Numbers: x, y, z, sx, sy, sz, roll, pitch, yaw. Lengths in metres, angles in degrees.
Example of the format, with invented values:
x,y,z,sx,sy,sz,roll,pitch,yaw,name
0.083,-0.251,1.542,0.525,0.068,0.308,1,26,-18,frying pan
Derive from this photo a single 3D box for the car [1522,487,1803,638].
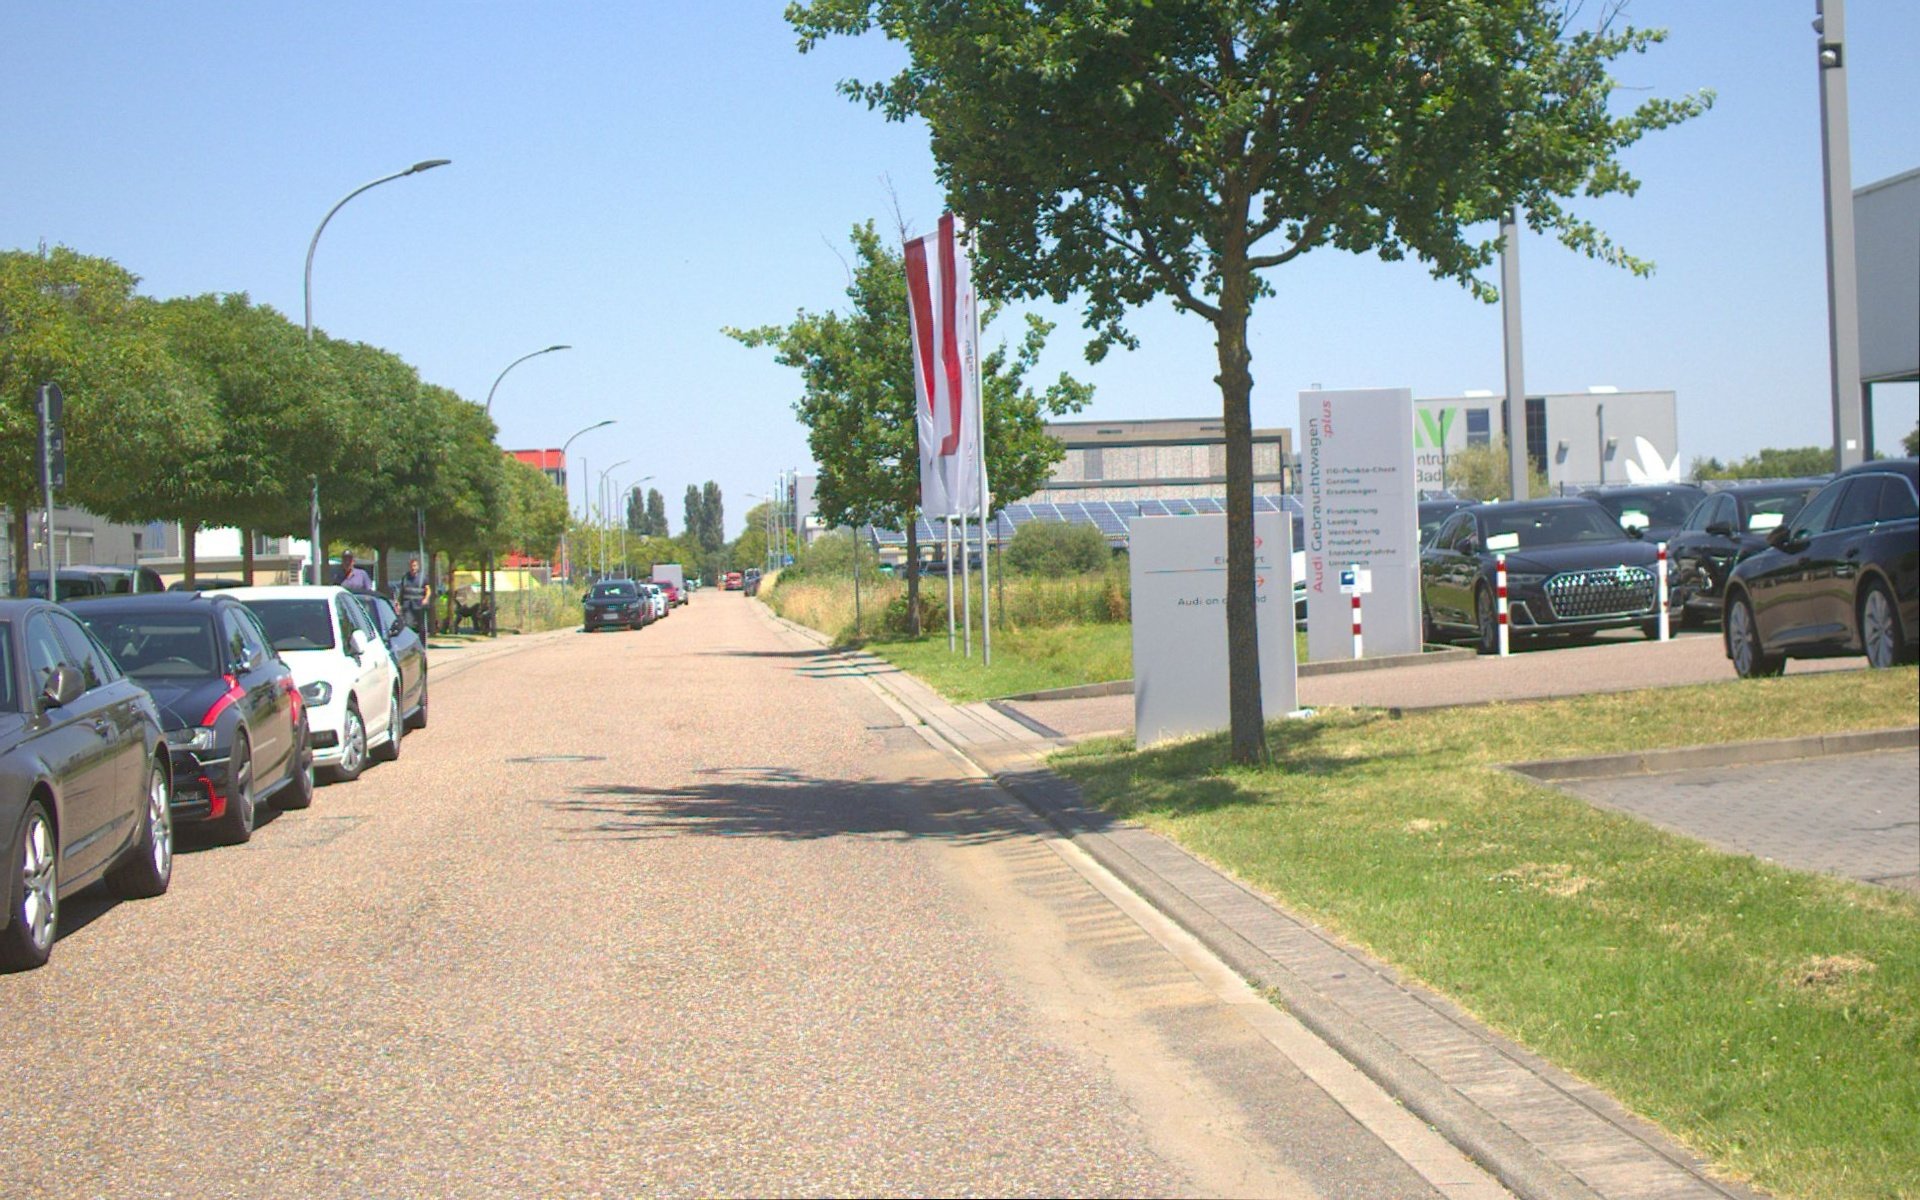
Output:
x,y,z,sx,sy,sz,roll,pitch,yaw,name
8.268,-0.435,40.923,2.024,1.584,4.780,-3,1,-3,car

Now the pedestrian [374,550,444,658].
x,y,z,sx,sy,sz,roll,pitch,yaw,name
-10.129,0.072,63.187,0.842,1.966,0.963,0,0,36,pedestrian

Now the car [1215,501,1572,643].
x,y,z,sx,sy,sz,roll,pitch,yaw,name
6.025,-0.390,48.104,4.527,1.687,2.032,-3,0,-6,car

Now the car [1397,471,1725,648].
x,y,z,sx,sy,sz,roll,pitch,yaw,name
5.997,-0.399,35.022,2.024,1.509,5.240,-5,1,-3,car

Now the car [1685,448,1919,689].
x,y,z,sx,sy,sz,roll,pitch,yaw,name
6.595,-0.184,23.218,1.961,1.452,4.986,-3,-1,-4,car

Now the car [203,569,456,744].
x,y,z,sx,sy,sz,roll,pitch,yaw,name
-5.932,0.484,32.797,1.824,1.495,4.526,-2,1,-4,car

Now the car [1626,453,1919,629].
x,y,z,sx,sy,sz,roll,pitch,yaw,name
8.549,-0.599,35.410,1.896,1.568,5.476,-5,1,-3,car

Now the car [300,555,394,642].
x,y,z,sx,sy,sz,roll,pitch,yaw,name
-14.807,-0.045,83.247,1.837,2.012,5.127,1,0,-6,car

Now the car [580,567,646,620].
x,y,z,sx,sy,sz,roll,pitch,yaw,name
-10.864,-0.223,107.862,1.926,1.562,4.190,-2,1,-5,car

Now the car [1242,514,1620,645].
x,y,z,sx,sy,sz,roll,pitch,yaw,name
6.174,-0.270,45.378,4.527,1.452,2.032,-3,1,-6,car

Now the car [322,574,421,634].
x,y,z,sx,sy,sz,roll,pitch,yaw,name
-15.207,0.123,89.094,1.926,1.436,4.841,-2,-1,-3,car

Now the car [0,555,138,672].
x,y,z,sx,sy,sz,roll,pitch,yaw,name
-12.155,0.162,46.467,1.682,1.495,3.705,-1,1,-9,car

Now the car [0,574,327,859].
x,y,z,sx,sy,sz,roll,pitch,yaw,name
-5.046,0.622,20.758,1.824,1.495,4.520,-2,1,-3,car

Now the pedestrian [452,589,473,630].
x,y,z,sx,sy,sz,roll,pitch,yaw,name
-14.619,0.287,101.043,0.506,1.187,0.753,1,0,-2,pedestrian

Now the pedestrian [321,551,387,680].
x,y,z,sx,sy,sz,roll,pitch,yaw,name
-8.546,0.208,48.523,0.744,1.795,1.135,1,0,-2,pedestrian

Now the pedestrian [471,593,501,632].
x,y,z,sx,sy,sz,roll,pitch,yaw,name
-13.796,0.367,100.013,0.750,1.095,0.646,1,0,0,pedestrian

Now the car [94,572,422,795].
x,y,z,sx,sy,sz,roll,pitch,yaw,name
-5.263,0.570,26.289,1.824,1.495,4.259,-2,1,-3,car

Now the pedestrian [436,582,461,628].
x,y,z,sx,sy,sz,roll,pitch,yaw,name
-13.324,0.130,89.542,0.479,1.146,0.555,1,-2,6,pedestrian

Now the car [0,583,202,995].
x,y,z,sx,sy,sz,roll,pitch,yaw,name
-4.563,0.710,14.752,1.824,1.495,4.520,-2,1,-3,car

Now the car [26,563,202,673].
x,y,z,sx,sy,sz,roll,pitch,yaw,name
-12.606,0.247,51.467,1.765,1.568,4.540,0,0,-3,car

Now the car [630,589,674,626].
x,y,z,sx,sy,sz,roll,pitch,yaw,name
-13.471,0.321,150.519,1.786,1.515,3.983,-2,1,-4,car

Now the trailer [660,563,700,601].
x,y,z,sx,sy,sz,roll,pitch,yaw,name
-16.445,-1.064,201.809,2.200,2.130,4.286,-2,0,-4,trailer
